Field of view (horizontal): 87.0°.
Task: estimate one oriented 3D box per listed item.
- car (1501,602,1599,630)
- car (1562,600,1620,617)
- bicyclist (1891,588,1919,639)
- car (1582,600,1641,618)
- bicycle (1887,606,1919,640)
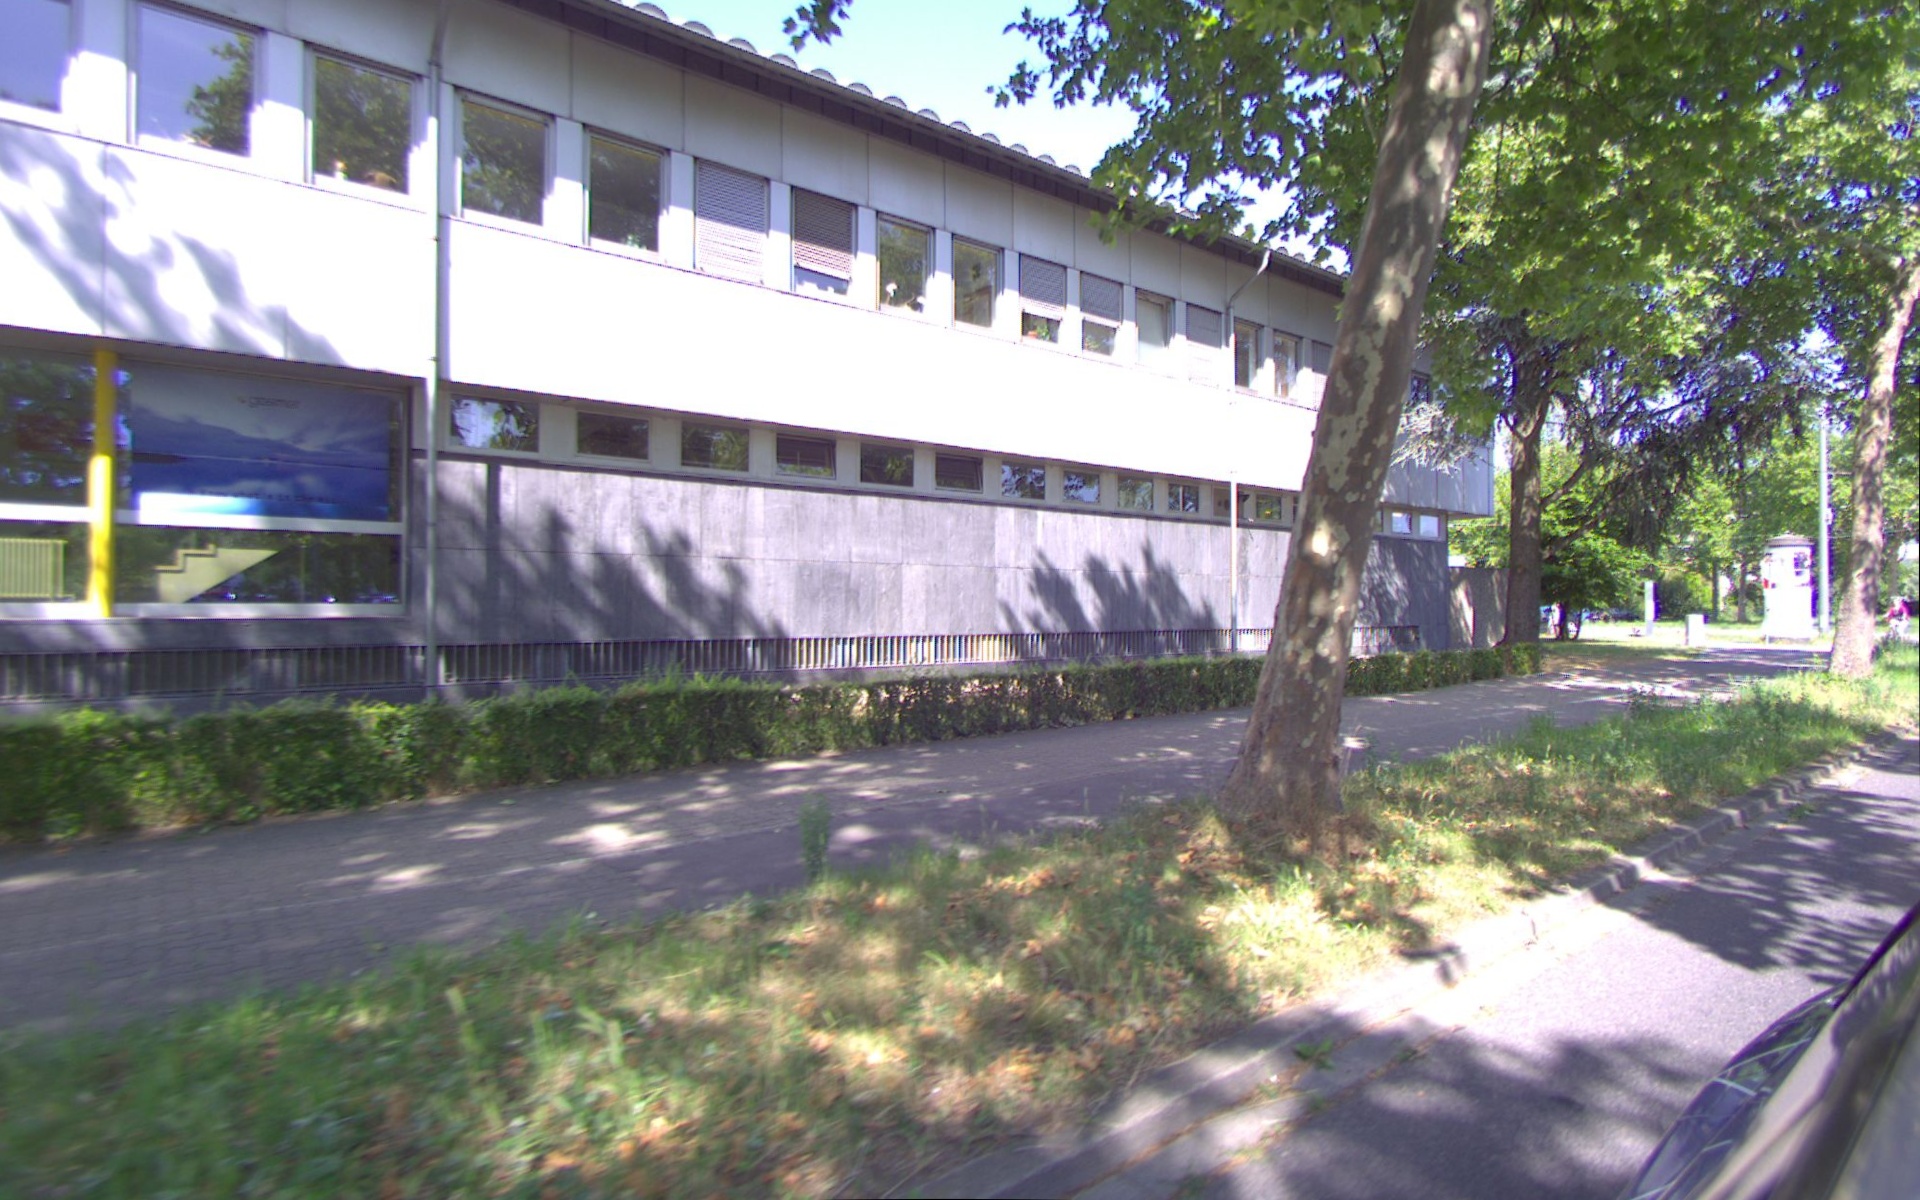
[{"bbox_3d":[36.124,0.955,61.973,5.012,1.517,2.147,-1,0,-12],"label":"car"},{"bbox_3d":[56.460,0.756,90.567,4.263,1.509,2.004,0,0,-16],"label":"car"},{"bbox_3d":[34.229,0.493,36.592,0.795,1.810,0.702,0,-1,-37],"label":"bicyclist"},{"bbox_3d":[56.952,0.753,88.426,4.263,1.509,2.004,-1,0,-16],"label":"car"},{"bbox_3d":[34.246,0.820,36.597,2.086,1.200,0.693,0,-1,-38],"label":"bicycle"}]
